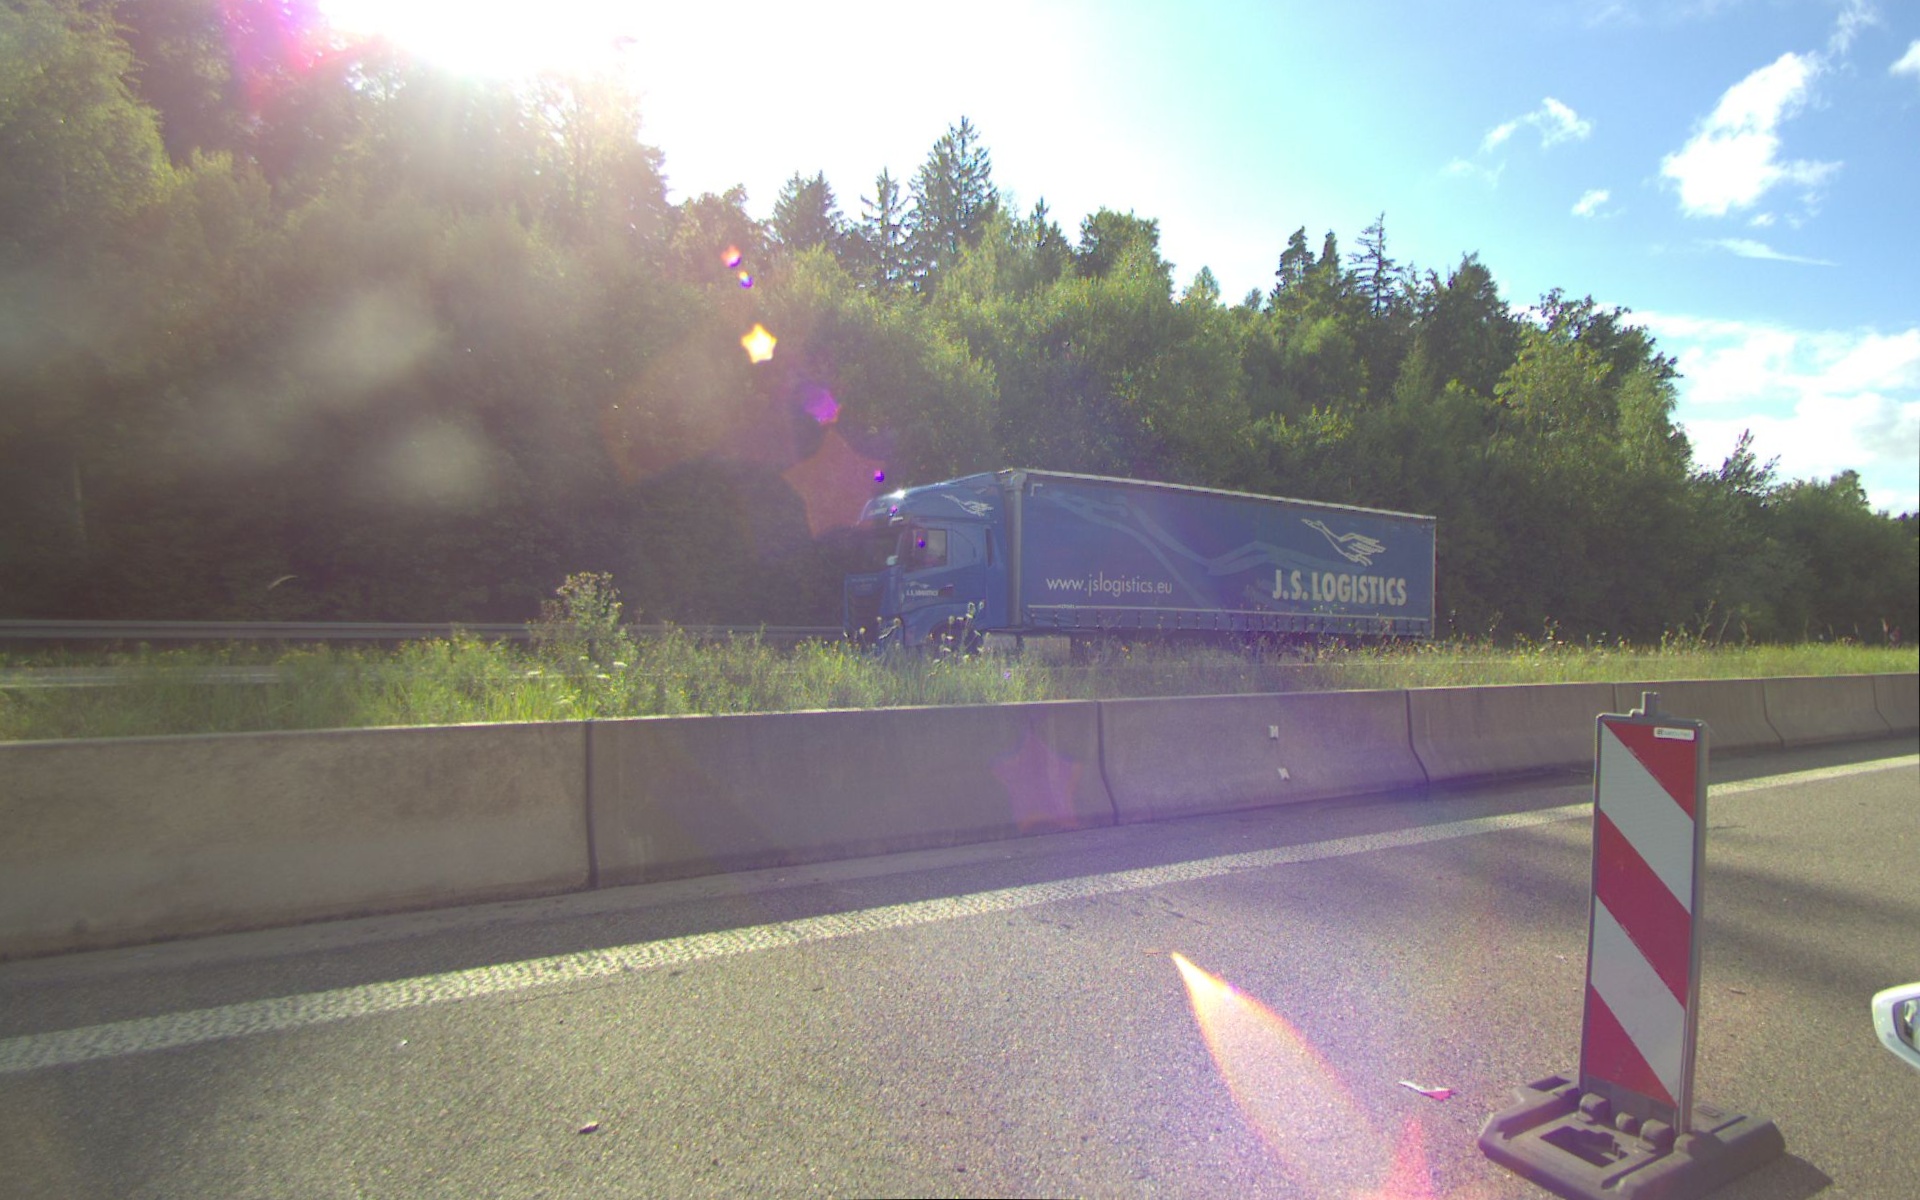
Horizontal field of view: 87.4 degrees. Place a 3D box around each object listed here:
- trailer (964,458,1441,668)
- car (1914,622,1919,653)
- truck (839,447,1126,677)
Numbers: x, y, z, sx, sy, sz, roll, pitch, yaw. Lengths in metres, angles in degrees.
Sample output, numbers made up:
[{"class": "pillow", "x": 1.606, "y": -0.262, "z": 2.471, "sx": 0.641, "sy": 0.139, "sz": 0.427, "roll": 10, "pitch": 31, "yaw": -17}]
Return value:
[{"class": "trailer", "x": 6.455, "y": -0.606, "z": 24.565, "sx": 13.216, "sy": 4.196, "sz": 2.607, "roll": 1, "pitch": 0, "yaw": -31}, {"class": "car", "x": 64.255, "y": 2.511, "z": 65.440, "sx": 3.953, "sy": 2.040, "sz": 1.984, "roll": 2, "pitch": 0, "yaw": -30}, {"class": "truck", "x": 0.504, "y": -0.658, "z": 21.036, "sx": 5.403, "sy": 4.245, "sz": 2.625, "roll": 1, "pitch": 0, "yaw": -30}]
